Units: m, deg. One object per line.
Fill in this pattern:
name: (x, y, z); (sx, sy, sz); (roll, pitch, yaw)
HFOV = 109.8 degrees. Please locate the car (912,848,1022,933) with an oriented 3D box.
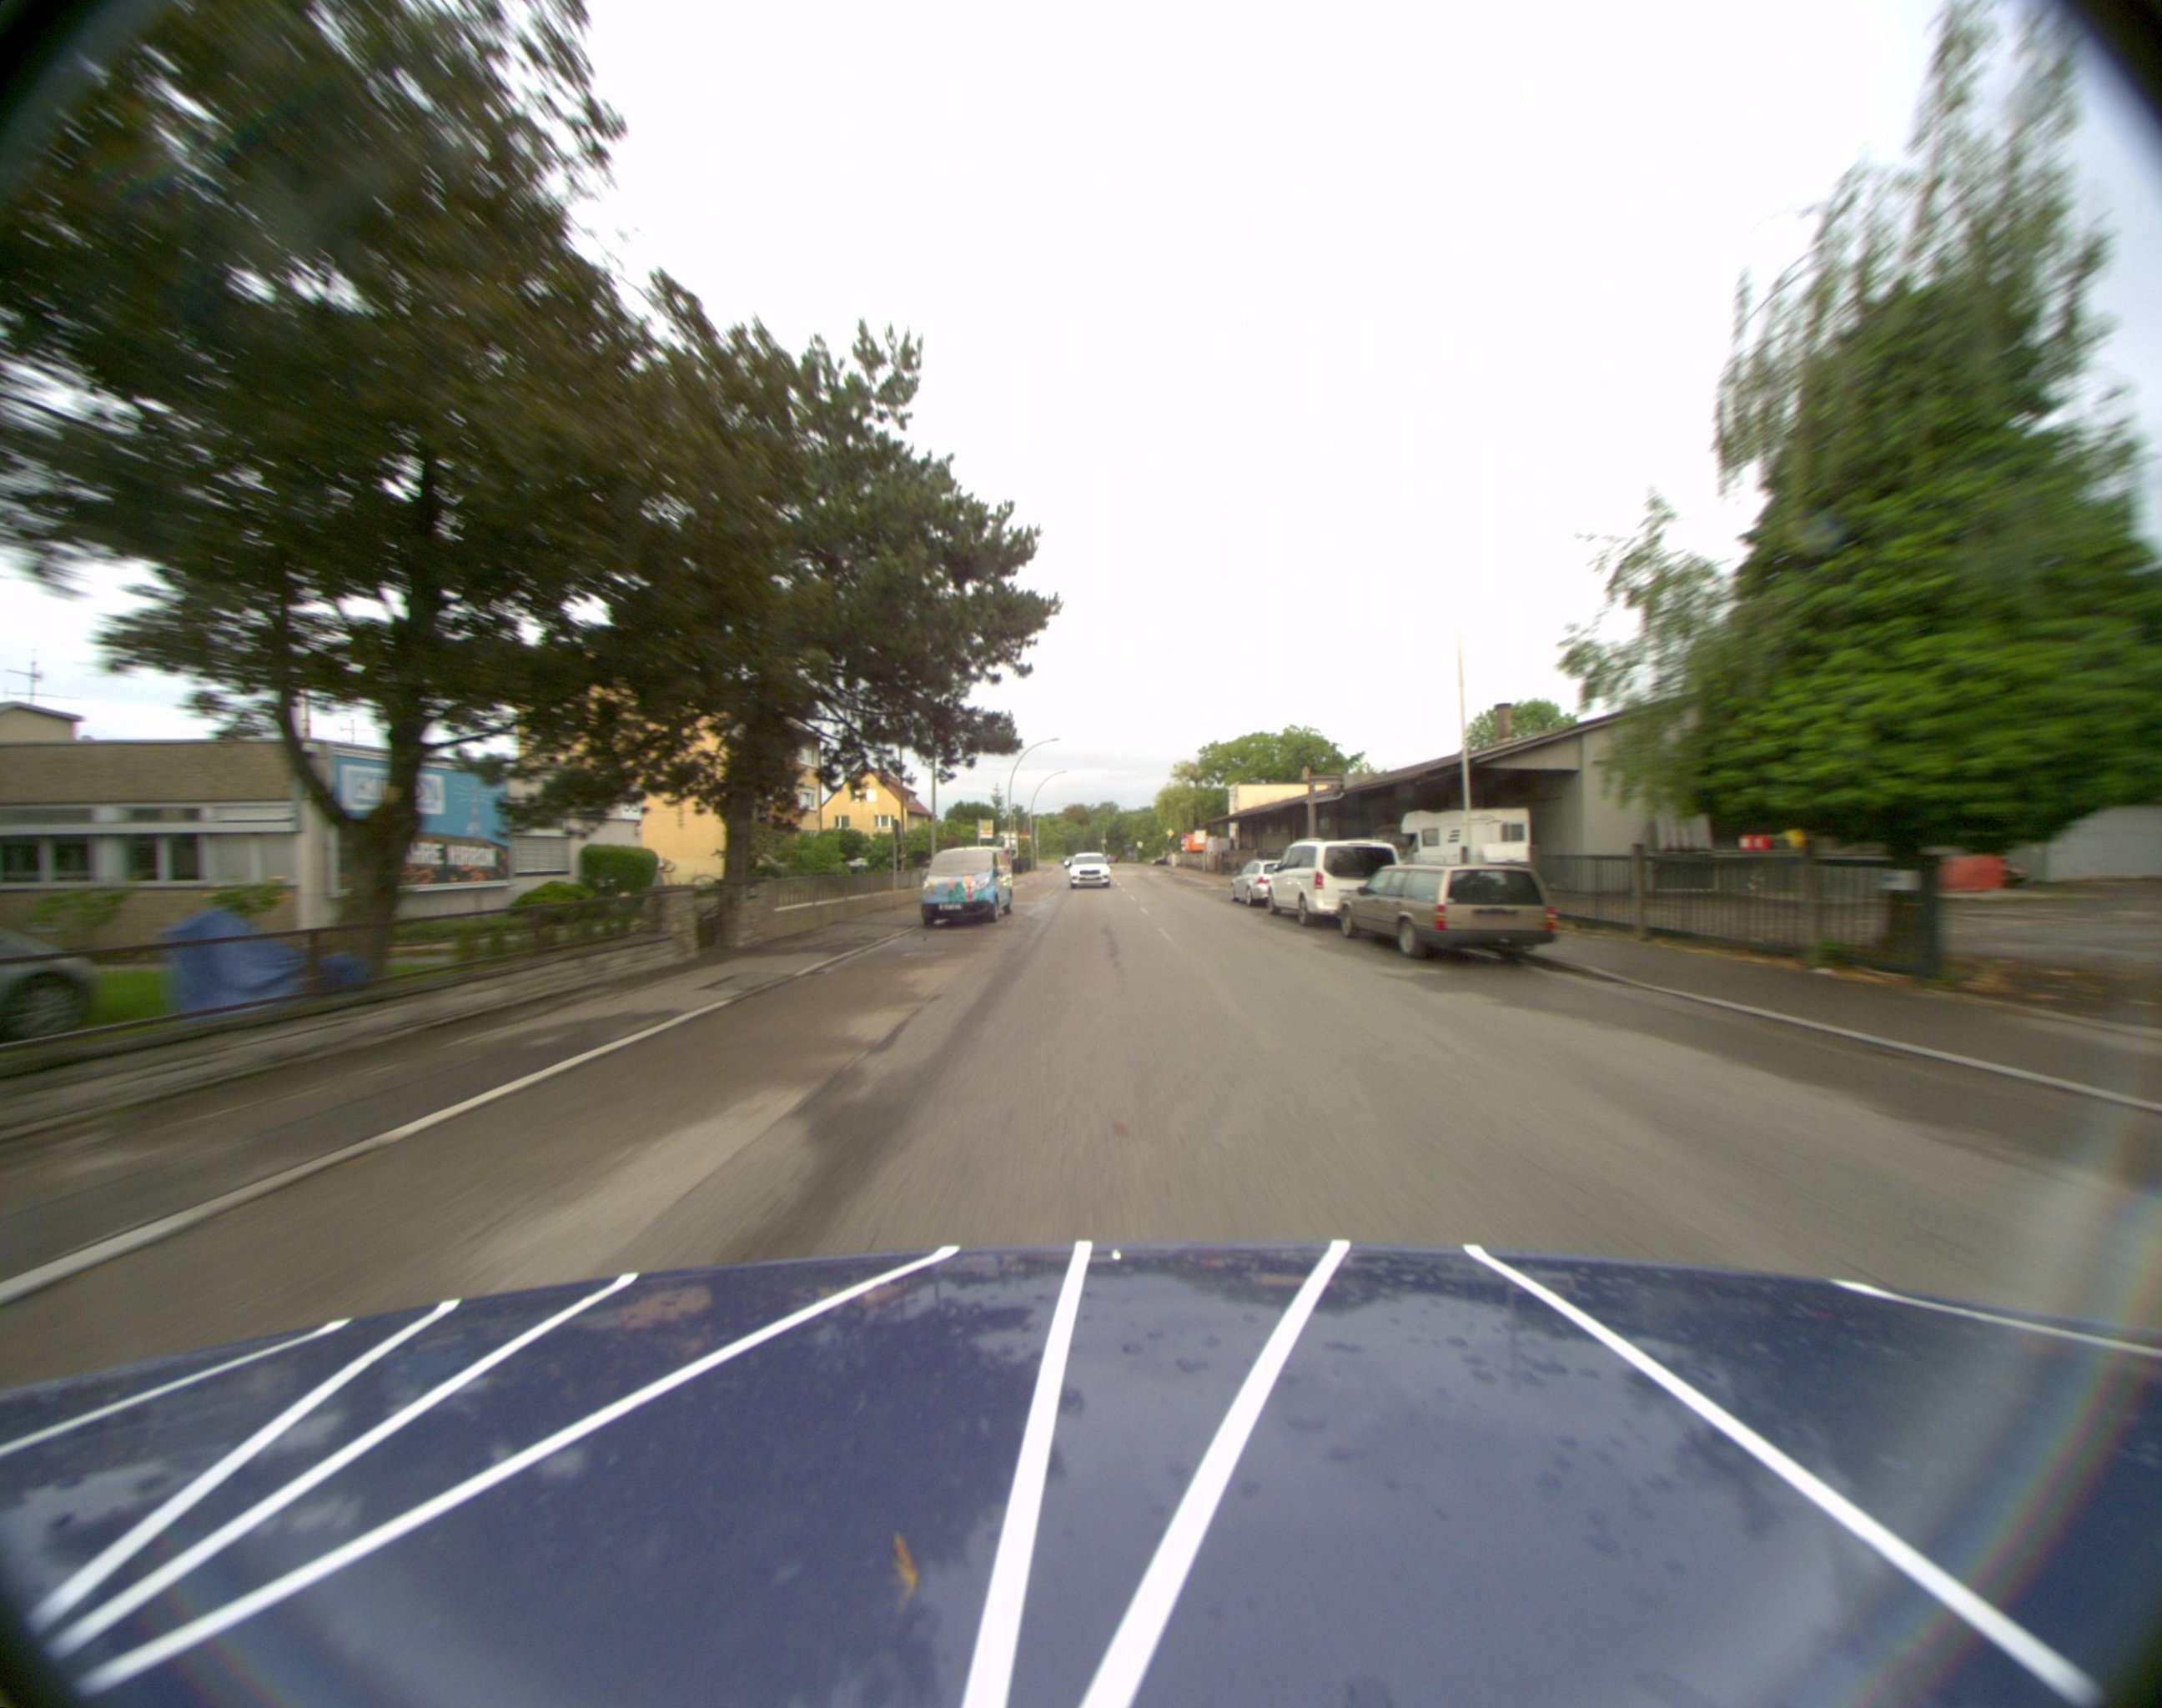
car: (-2.775, 0.799, 19.835); (1.735, 1.817, 5.553); (-3, 0, 3)

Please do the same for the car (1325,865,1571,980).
car: (5.754, 0.968, 12.764); (1.820, 1.419, 4.981); (1, 1, 2)

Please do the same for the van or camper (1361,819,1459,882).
van or camper: (14.248, -0.148, 33.304); (1.998, 2.476, 5.197); (-2, 1, 0)

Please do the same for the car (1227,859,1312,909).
car: (5.893, 0.870, 24.305); (1.642, 1.357, 4.707); (1, 1, 1)

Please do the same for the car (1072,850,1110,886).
car: (0.460, 0.646, 37.375); (1.692, 1.651, 3.999); (-2, 1, -1)

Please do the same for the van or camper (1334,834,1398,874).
van or camper: (14.959, -0.010, 40.151); (1.926, 1.924, 4.374); (-2, 1, 3)

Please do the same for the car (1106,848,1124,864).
car: (3.628, 0.228, 82.191); (1.898, 1.678, 4.231); (1, 1, 2)

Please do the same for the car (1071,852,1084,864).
car: (-0.458, 0.500, 91.447); (1.564, 1.332, 3.129); (-2, 1, -1)

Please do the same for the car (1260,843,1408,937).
car: (5.790, 0.716, 18.144); (1.898, 1.881, 5.210); (1, 1, 2)

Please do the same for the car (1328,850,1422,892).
car: (11.314, 0.606, 29.637); (1.833, 1.432, 4.788); (-2, 1, 0)

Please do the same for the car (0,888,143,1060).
car: (-10.435, 1.107, 5.713); (1.749, 1.479, 4.116); (-1, 0, -4)

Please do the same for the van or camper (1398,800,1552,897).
van or camper: (13.781, -0.200, 27.198); (2.309, 3.018, 6.150); (-2, 1, 0)
